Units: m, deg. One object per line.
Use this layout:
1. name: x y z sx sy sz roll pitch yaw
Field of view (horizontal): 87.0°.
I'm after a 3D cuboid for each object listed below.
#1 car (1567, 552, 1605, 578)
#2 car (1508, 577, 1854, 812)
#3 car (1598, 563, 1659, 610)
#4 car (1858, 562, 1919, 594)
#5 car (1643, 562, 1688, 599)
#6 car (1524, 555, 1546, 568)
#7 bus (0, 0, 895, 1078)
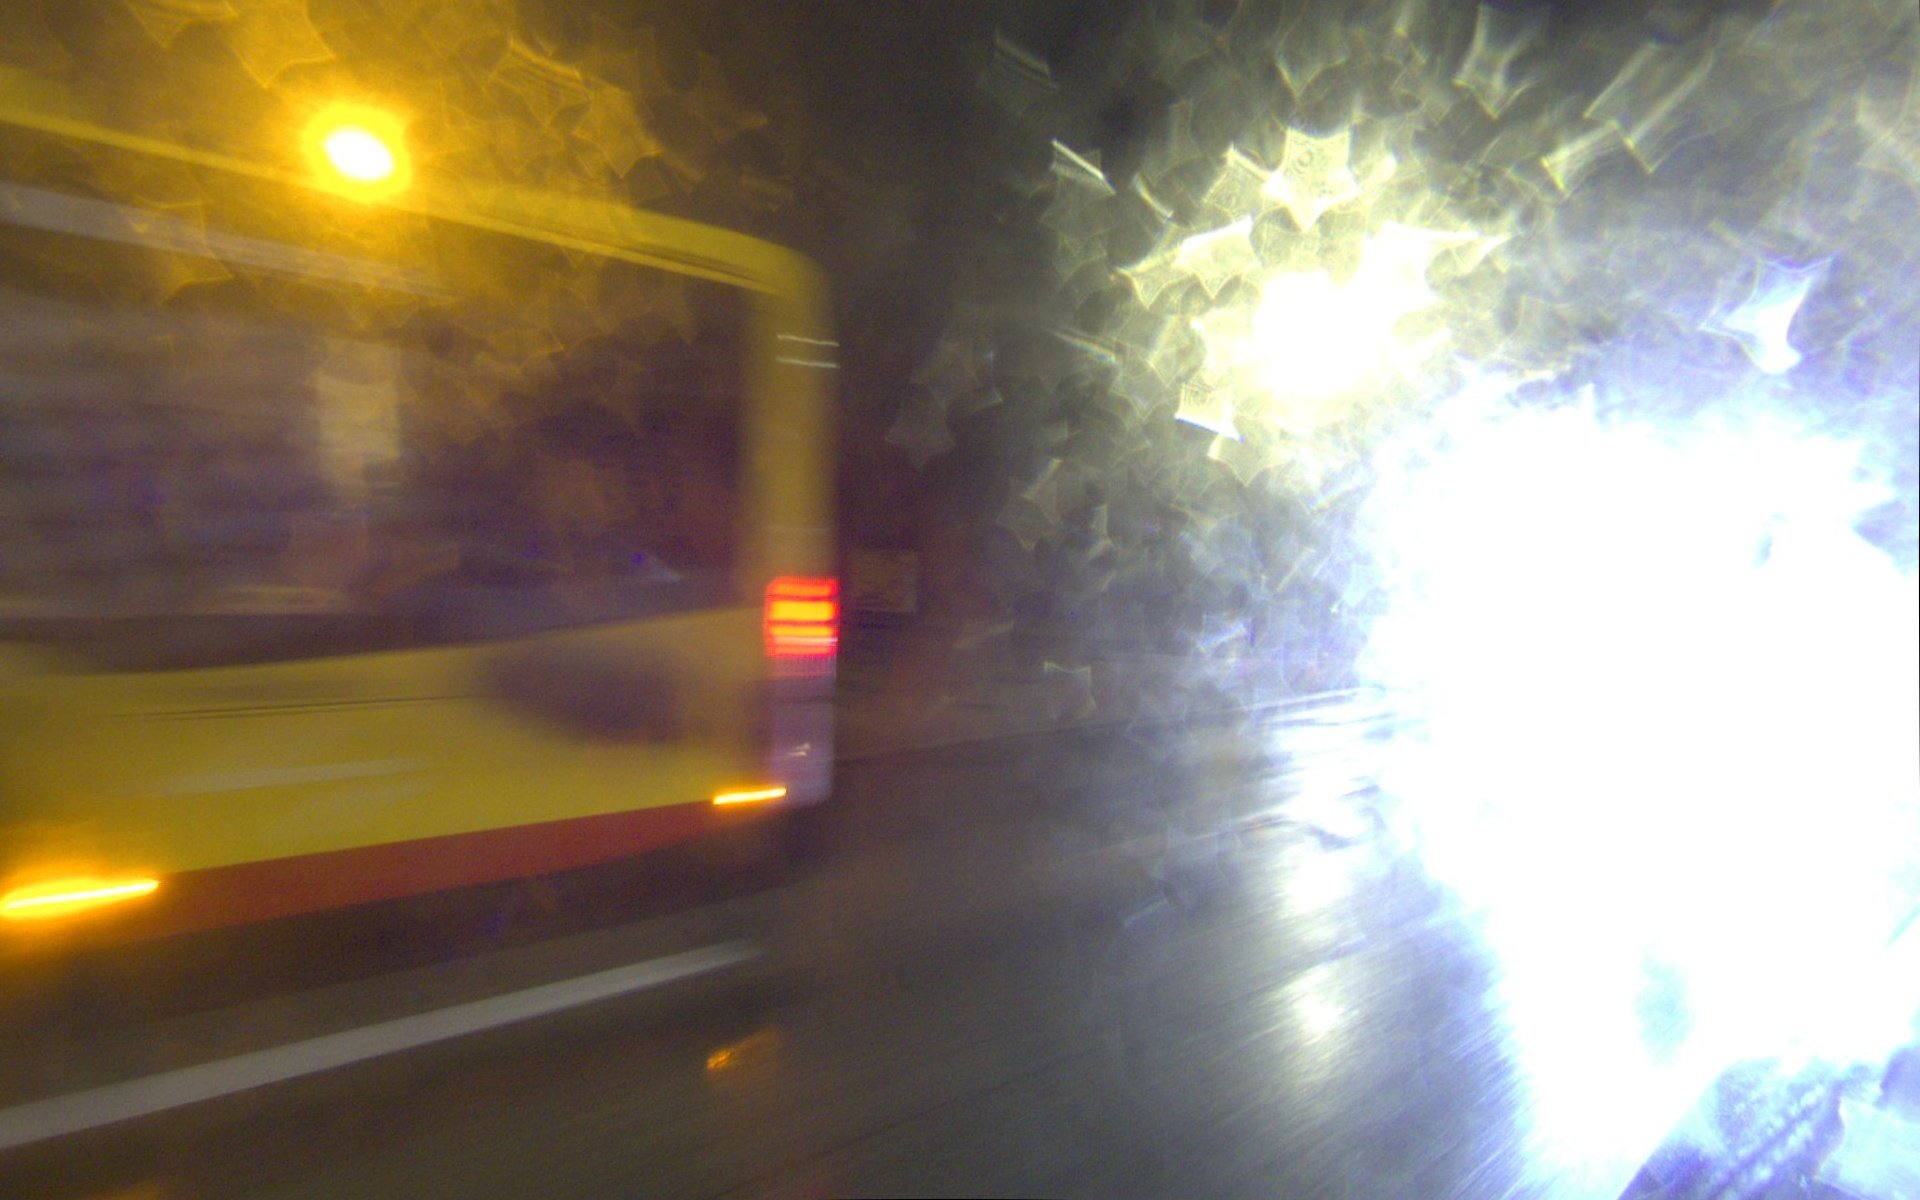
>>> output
1. car: 52.047 -2.918 84.219 1.978 1.957 3.970 5 4 23
2. car: 6.492 0.601 8.929 1.993 1.543 3.939 2 2 43
3. car: 29.101 -0.632 44.180 1.921 1.895 3.960 1 3 30
4. car: 49.336 -1.164 53.272 1.855 1.481 4.598 4 4 27
5. car: 42.105 -1.174 60.471 1.988 1.957 3.951 6 4 34
6. car: 75.106 -5.035 132.286 1.748 1.474 3.930 0 3 19
7. bus: -4.698 -0.295 3.200 8.889 3.252 3.050 0 1 -40
